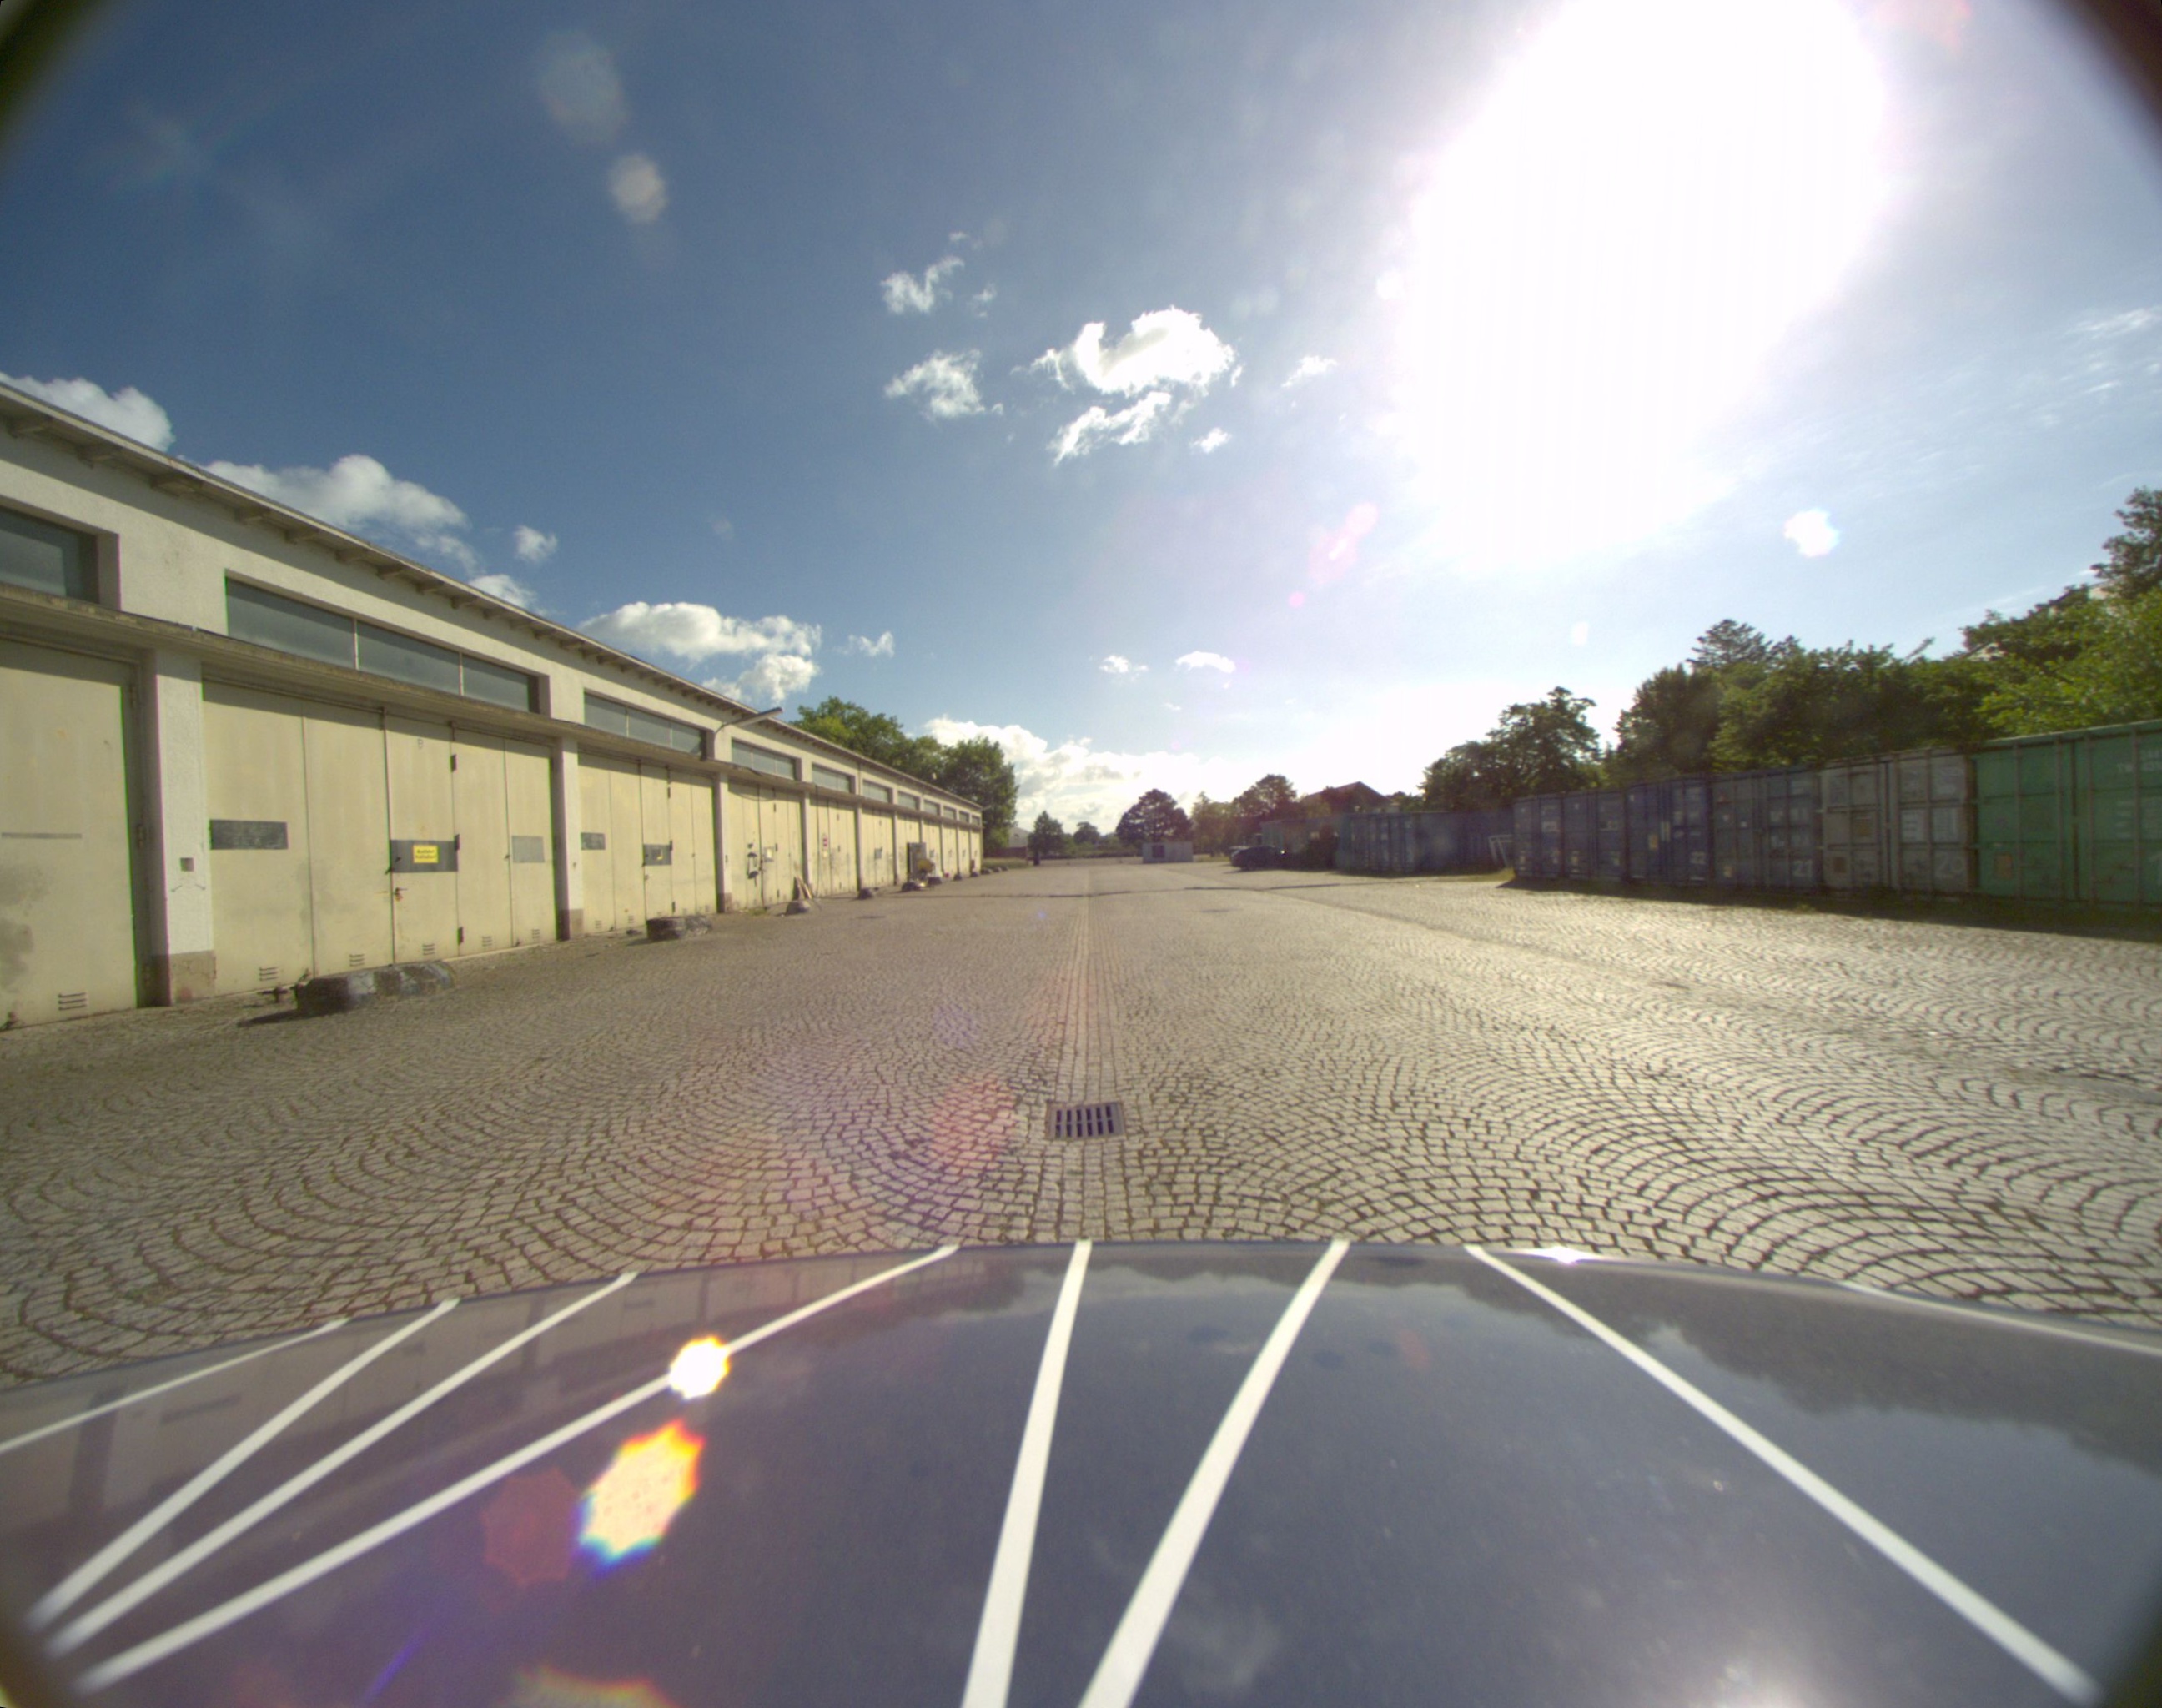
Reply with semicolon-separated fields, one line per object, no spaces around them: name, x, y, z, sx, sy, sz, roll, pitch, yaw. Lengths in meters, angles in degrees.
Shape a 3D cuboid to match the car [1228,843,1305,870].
car;11.146;0.141;45.869;4.112;1.289;1.999;-4;1;-1
